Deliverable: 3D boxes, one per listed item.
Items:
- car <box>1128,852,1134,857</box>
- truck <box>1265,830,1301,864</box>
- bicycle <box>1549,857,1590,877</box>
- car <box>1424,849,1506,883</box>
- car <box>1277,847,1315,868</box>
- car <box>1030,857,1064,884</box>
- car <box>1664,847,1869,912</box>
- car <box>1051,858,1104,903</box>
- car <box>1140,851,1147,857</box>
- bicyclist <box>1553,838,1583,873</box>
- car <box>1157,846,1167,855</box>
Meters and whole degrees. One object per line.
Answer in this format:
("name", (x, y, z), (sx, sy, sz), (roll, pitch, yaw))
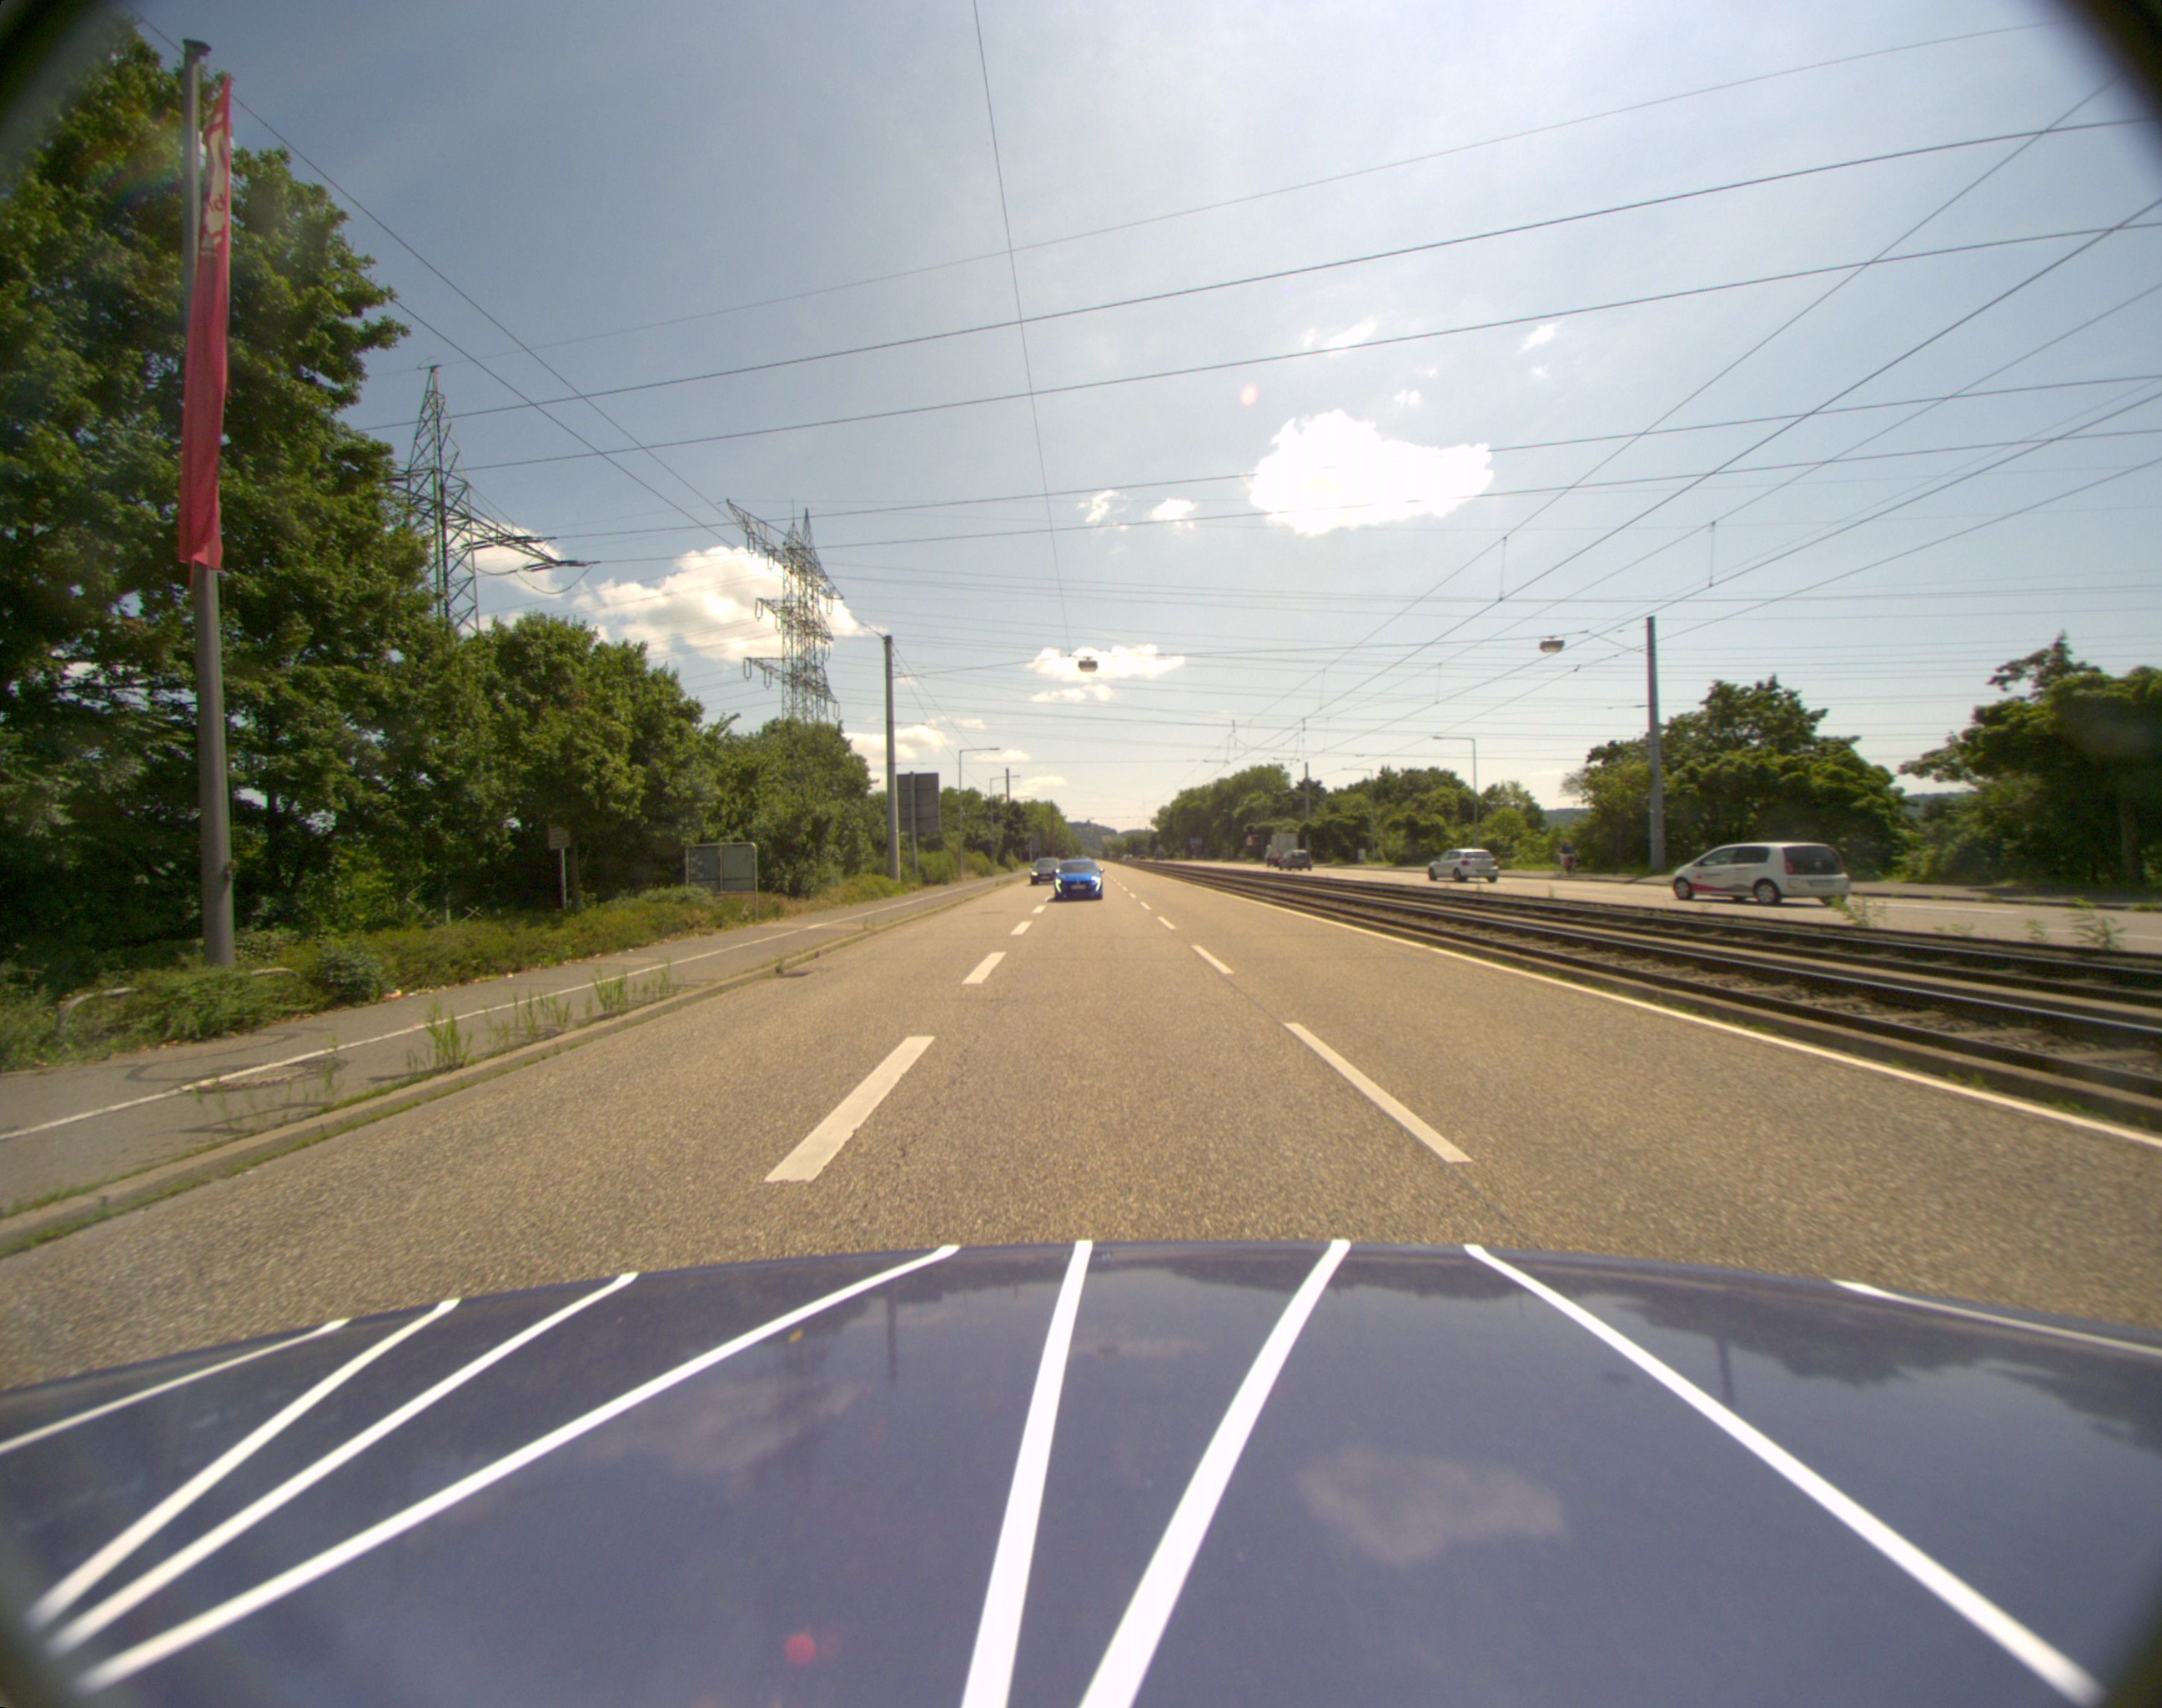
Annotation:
("car", (15.285, 0.234, 232.419), (1.806, 1.616, 4.494), (0, 0, 0))
("truck", (20.476, -0.677, 77.361), (2.255, 3.218, 6.042), (-1, 0, 2))
("bicycle", (22.887, 0.581, 35.630), (0.652, 0.854, 2.121), (-3, 0, 5))
("car", (17.029, 0.488, 33.911), (1.640, 1.413, 4.127), (0, 0, 1))
("car", (16.555, 0.271, 58.731), (1.757, 1.526, 3.957), (0, 0, 0))
("car", (-1.983, 0.957, 45.147), (1.771, 1.422, 4.000), (-2, 0, 1))
("car", (16.526, 0.547, 18.594), (1.641, 1.428, 3.721), (0, 0, 0))
("car", (-0.101, 0.917, 28.375), (1.771, 1.463, 4.467), (-2, 0, 1))
("car", (19.167, -0.045, 231.327), (1.806, 1.616, 4.211), (0, 0, 0))
("bicyclist", (22.863, 0.074, 35.670), (0.652, 1.611, 1.155), (-3, 0, 4))
("car", (18.632, -0.806, 175.185), (1.862, 1.916, 5.007), (0, 0, 0))
